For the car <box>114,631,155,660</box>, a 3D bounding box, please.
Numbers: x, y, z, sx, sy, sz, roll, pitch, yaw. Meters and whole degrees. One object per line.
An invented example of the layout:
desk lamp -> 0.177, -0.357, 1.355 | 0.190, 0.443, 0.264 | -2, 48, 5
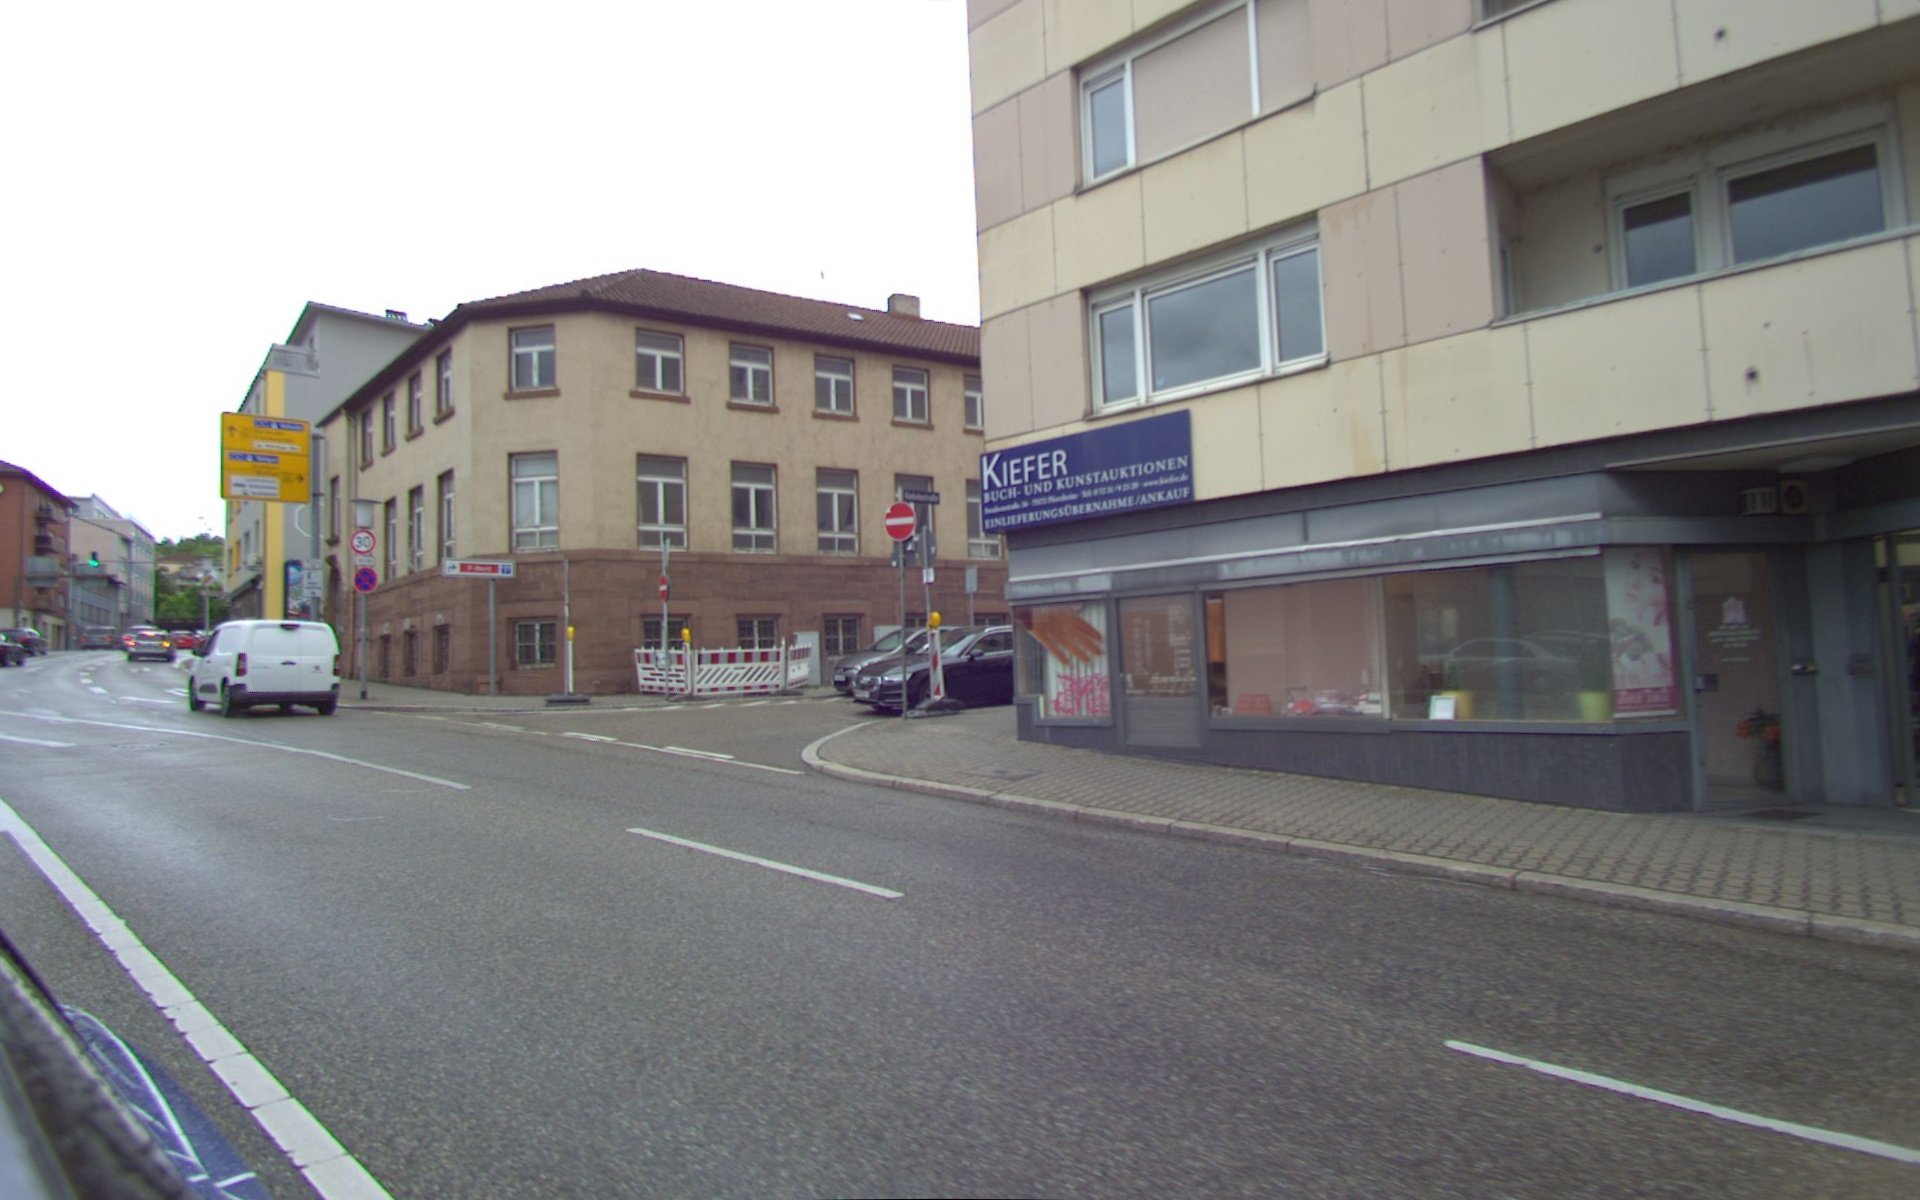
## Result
car -> -51.696, 2.831, 63.333 | 1.834, 1.711, 4.325 | 2, -3, -41

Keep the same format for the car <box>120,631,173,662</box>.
car -> -40.883, 2.347, 50.846 | 1.834, 1.465, 4.324 | 5, -5, -41

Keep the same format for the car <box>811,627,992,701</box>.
car -> -1.328, 1.460, 23.400 | 3.750, 1.478, 1.758 | -1, -4, -35

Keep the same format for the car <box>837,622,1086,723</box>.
car -> 0.106, 1.212, 18.207 | 4.295, 1.515, 1.757 | -1, -1, -38

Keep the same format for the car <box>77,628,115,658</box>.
car -> -58.542, 2.882, 68.625 | 1.820, 1.918, 3.772 | 1, -2, -39

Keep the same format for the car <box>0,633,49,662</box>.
car -> -48.401, 2.422, 52.207 | 1.834, 1.465, 4.326 | 2, -3, -39

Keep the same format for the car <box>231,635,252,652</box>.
car -> -82.824, 5.026, 116.656 | 1.819, 1.918, 3.774 | 1, -2, -36

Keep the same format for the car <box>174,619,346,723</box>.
car -> -13.856, 1.331, 19.942 | 4.265, 1.817, 1.841 | -2, -3, 43

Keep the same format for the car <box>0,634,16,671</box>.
car -> -39.366, 2.085, 40.587 | 1.834, 1.465, 4.326 | 2, -3, -39

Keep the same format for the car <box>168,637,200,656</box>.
car -> -61.421, 3.664, 80.088 | 1.834, 1.465, 4.325 | 2, -3, -40
